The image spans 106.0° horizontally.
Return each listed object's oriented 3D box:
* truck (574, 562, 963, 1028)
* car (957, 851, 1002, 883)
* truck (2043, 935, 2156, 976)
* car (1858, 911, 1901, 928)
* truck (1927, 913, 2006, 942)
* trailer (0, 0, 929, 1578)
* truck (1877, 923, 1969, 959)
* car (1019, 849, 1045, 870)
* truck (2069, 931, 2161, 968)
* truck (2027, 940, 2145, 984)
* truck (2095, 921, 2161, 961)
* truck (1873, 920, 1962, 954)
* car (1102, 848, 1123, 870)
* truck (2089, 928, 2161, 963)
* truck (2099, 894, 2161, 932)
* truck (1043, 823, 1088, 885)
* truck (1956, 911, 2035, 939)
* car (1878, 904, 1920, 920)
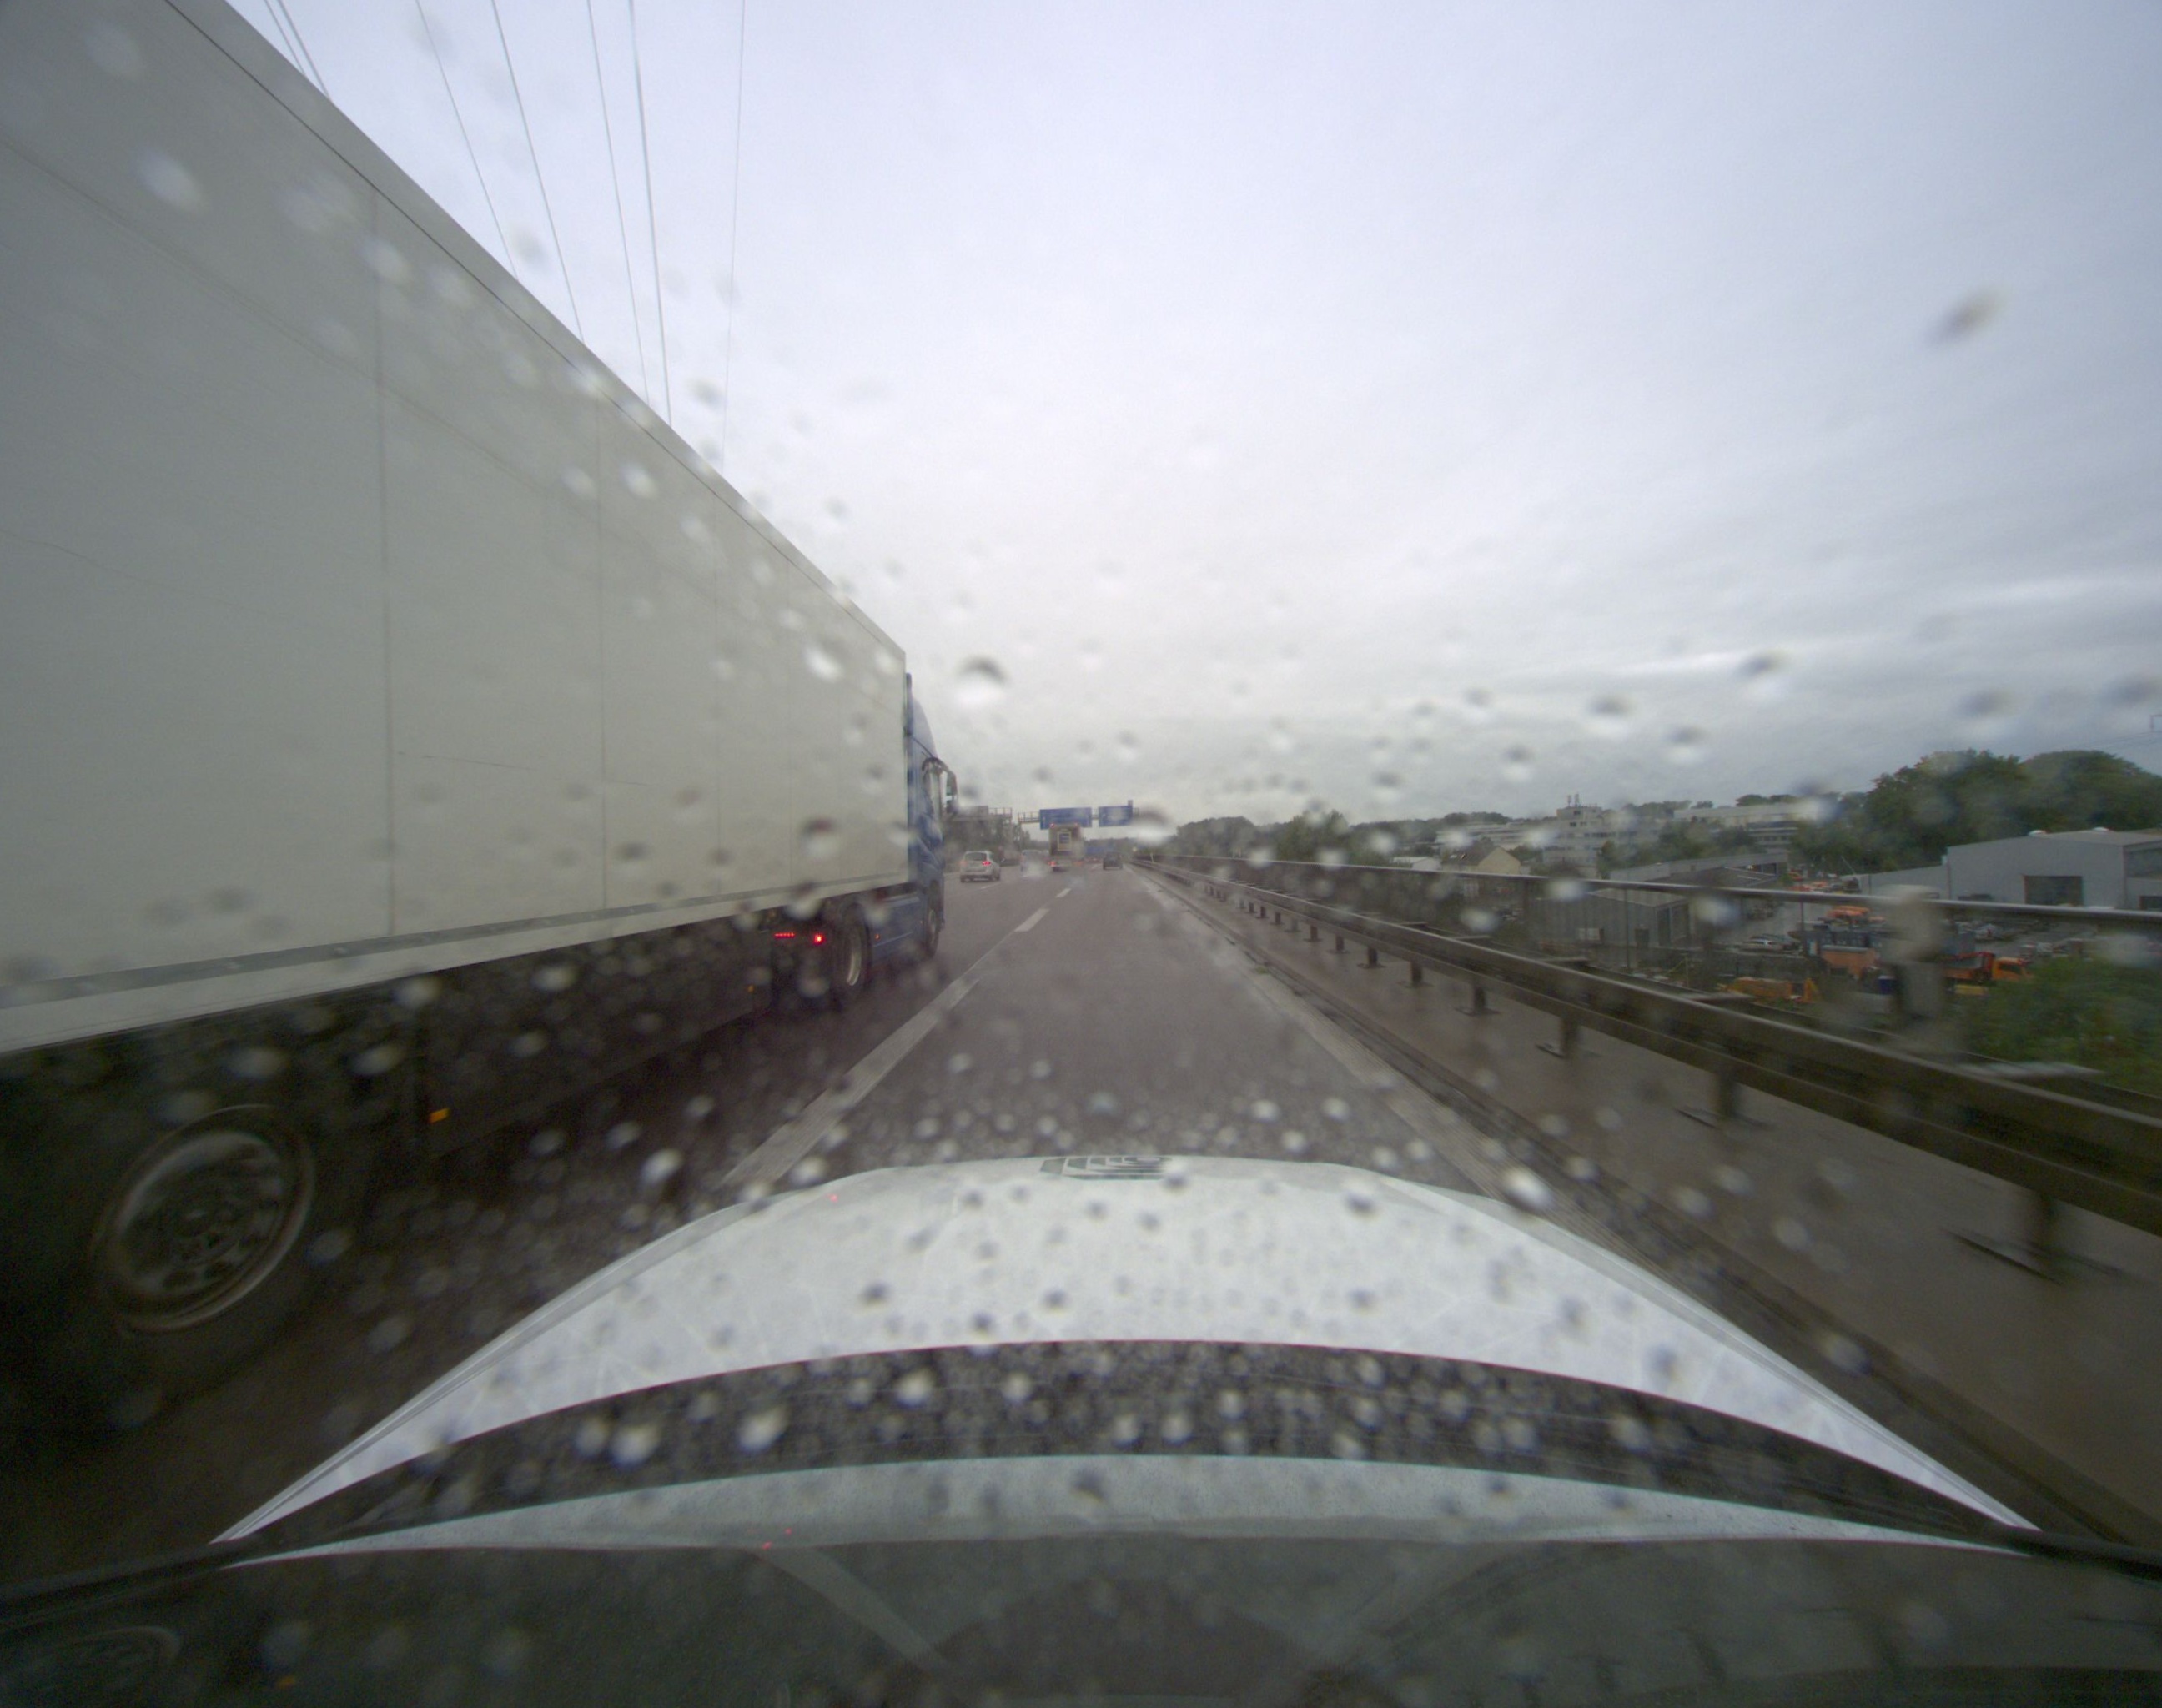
[{"bbox_3d":[-3.267,-0.537,10.468,2.334,4.157,6.349,0,0,2],"label":"truck"},{"bbox_3d":[-5.651,0.710,45.598,1.887,1.723,4.001,0,-1,2],"label":"car"},{"bbox_3d":[97.843,9.678,78.364,2.112,3.184,6.522,0,-1,-32],"label":"truck"},{"bbox_3d":[110.968,9.042,113.209,2.008,2.014,3.958,0,-1,-34],"label":"car"},{"bbox_3d":[111.795,9.226,102.925,2.112,3.184,6.522,0,-1,-32],"label":"truck"},{"bbox_3d":[-3.482,-0.497,3.596,2.333,4.157,14.833,0,0,2],"label":"trailer"},{"bbox_3d":[89.494,9.179,86.683,2.112,3.184,6.522,0,-1,-32],"label":"truck"},{"bbox_3d":[-4.615,0.534,76.833,2.041,1.949,4.001,0,-1,2],"label":"car"},{"bbox_3d":[106.126,9.731,83.125,2.112,3.184,6.522,0,-1,-32],"label":"truck"},{"bbox_3d":[90.961,9.720,73.824,2.112,3.184,6.522,0,-1,-32],"label":"truck"},{"bbox_3d":[112.979,9.261,86.392,2.112,3.810,6.522,0,-1,-32],"label":"truck"},{"bbox_3d":[92.305,9.127,89.959,2.112,3.184,6.522,0,-1,-32],"label":"truck"},{"bbox_3d":[2.955,0.466,75.431,1.889,1.949,4.003,0,-1,3],"label":"car"},{"bbox_3d":[110.310,9.571,84.793,2.112,3.184,6.522,0,-1,-32],"label":"truck"},{"bbox_3d":[115.062,6.367,87.688,2.112,3.810,6.522,0,-1,-32],"label":"truck"},{"bbox_3d":[-1.259,0.046,72.695,3.520,5.183,9.896,0,-1,2],"label":"truck"},{"bbox_3d":[118.325,9.116,105.481,2.112,3.184,6.522,0,-1,-32],"label":"truck"},{"bbox_3d":[117.415,8.328,116.925,2.008,2.014,3.958,0,-1,-34],"label":"car"}]
